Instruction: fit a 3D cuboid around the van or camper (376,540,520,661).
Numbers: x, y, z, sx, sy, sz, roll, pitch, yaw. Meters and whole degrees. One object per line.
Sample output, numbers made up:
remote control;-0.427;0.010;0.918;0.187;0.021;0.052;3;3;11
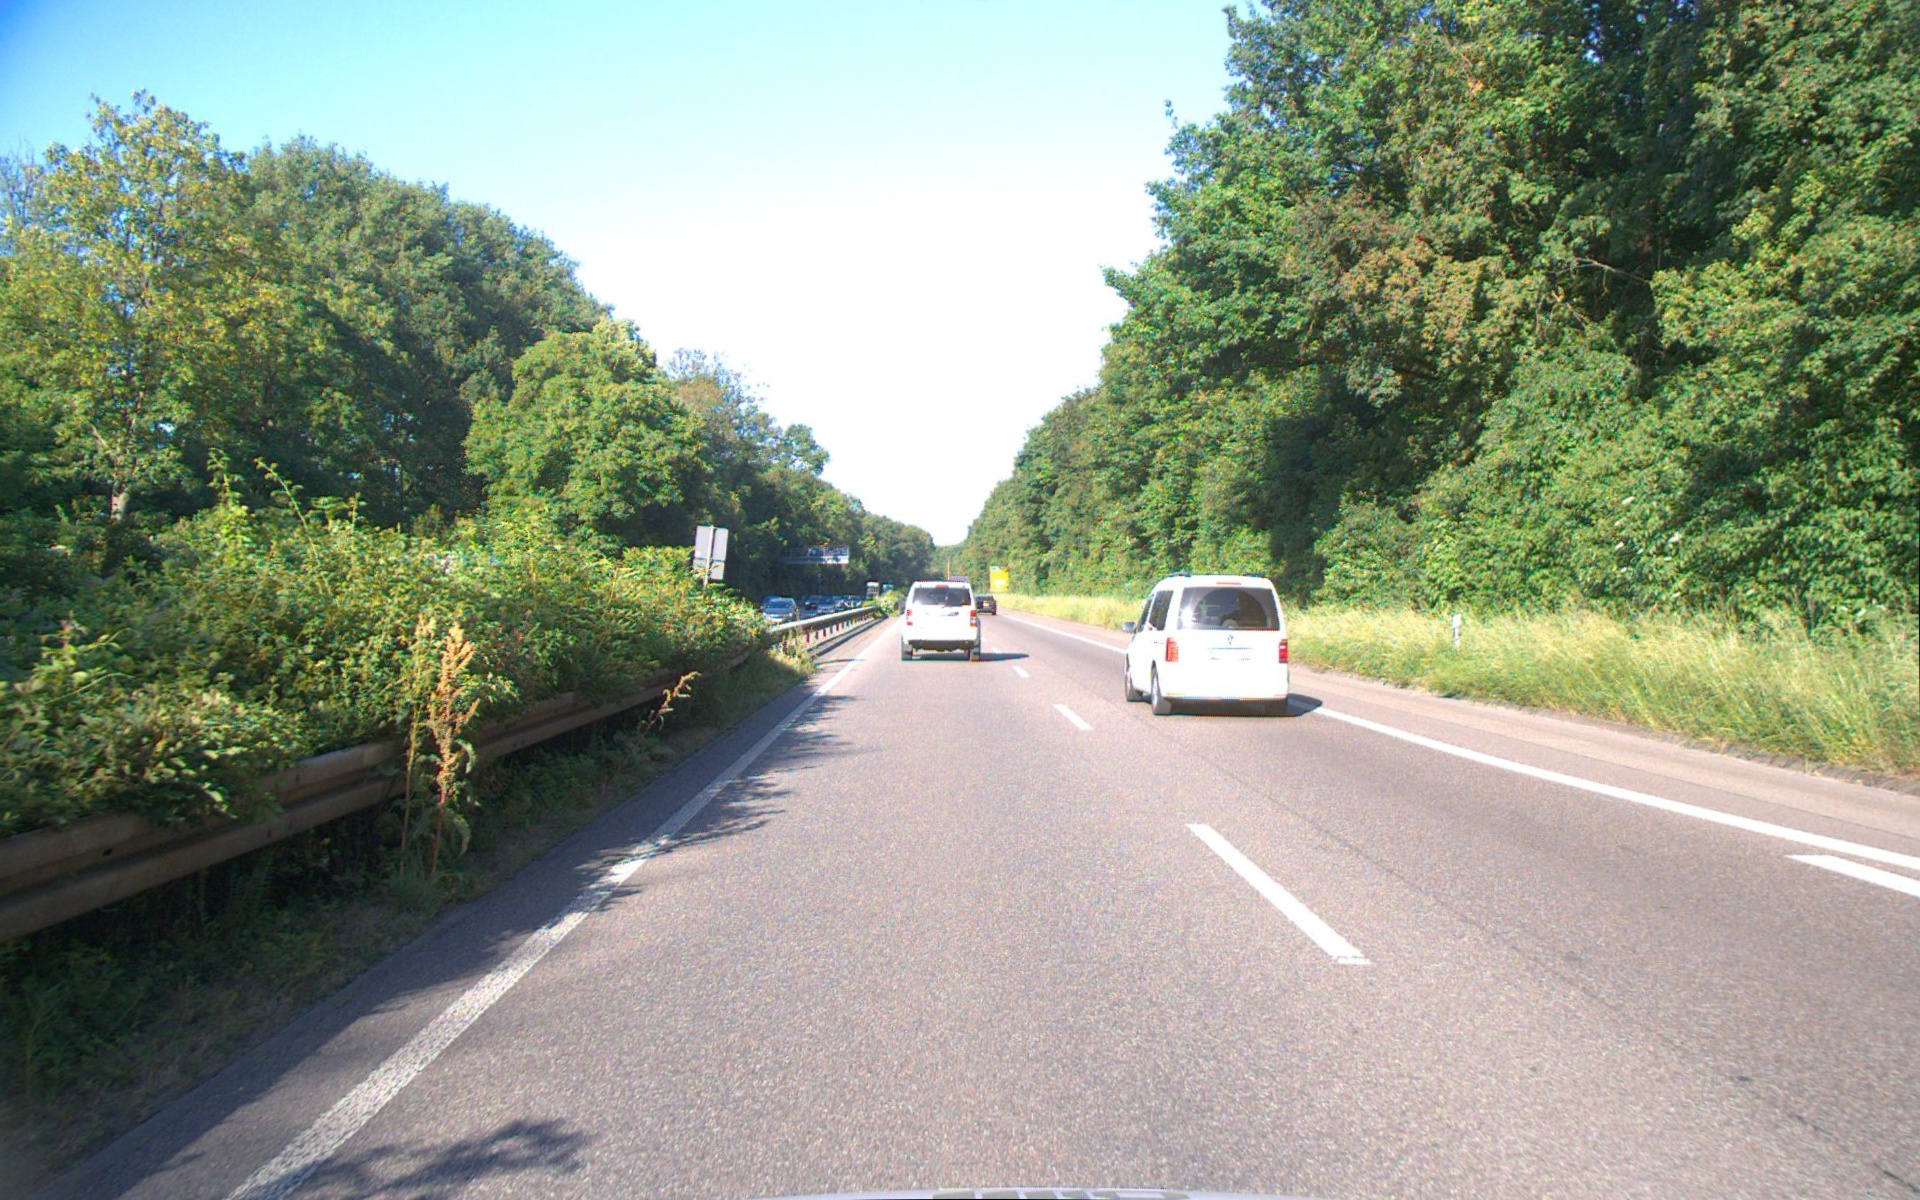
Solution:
van or camper;-12.466;-0.009;40.649;1.953;2.769;5.253;0;0;-1

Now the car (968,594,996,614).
car;1.640;0.314;123.372;1.953;1.422;3.999;1;0;-1

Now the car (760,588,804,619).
car;-9.285;0.178;86.639;1.921;1.567;4.463;0;0;-1

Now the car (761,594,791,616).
car;-13.633;0.363;122.546;1.799;1.567;4.429;1;0;-1

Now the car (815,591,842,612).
car;-10.062;0.138;126.978;1.839;1.567;4.463;0;0;-1

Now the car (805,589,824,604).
car;-15.050;-0.394;171.464;1.683;1.470;4.227;-1;0;-2

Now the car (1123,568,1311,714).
car;3.405;0.490;22.748;1.825;1.801;4.469;1;0;-1

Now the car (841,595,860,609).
car;-11.582;0.201;175.447;1.798;1.380;4.473;0;0;-2

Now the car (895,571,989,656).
car;-0.472;0.288;38.591;2.044;1.860;3.998;0;0;-3

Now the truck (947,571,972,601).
truck;-0.050;-1.989;238.625;3.425;4.245;8.859;-1;0;-1
